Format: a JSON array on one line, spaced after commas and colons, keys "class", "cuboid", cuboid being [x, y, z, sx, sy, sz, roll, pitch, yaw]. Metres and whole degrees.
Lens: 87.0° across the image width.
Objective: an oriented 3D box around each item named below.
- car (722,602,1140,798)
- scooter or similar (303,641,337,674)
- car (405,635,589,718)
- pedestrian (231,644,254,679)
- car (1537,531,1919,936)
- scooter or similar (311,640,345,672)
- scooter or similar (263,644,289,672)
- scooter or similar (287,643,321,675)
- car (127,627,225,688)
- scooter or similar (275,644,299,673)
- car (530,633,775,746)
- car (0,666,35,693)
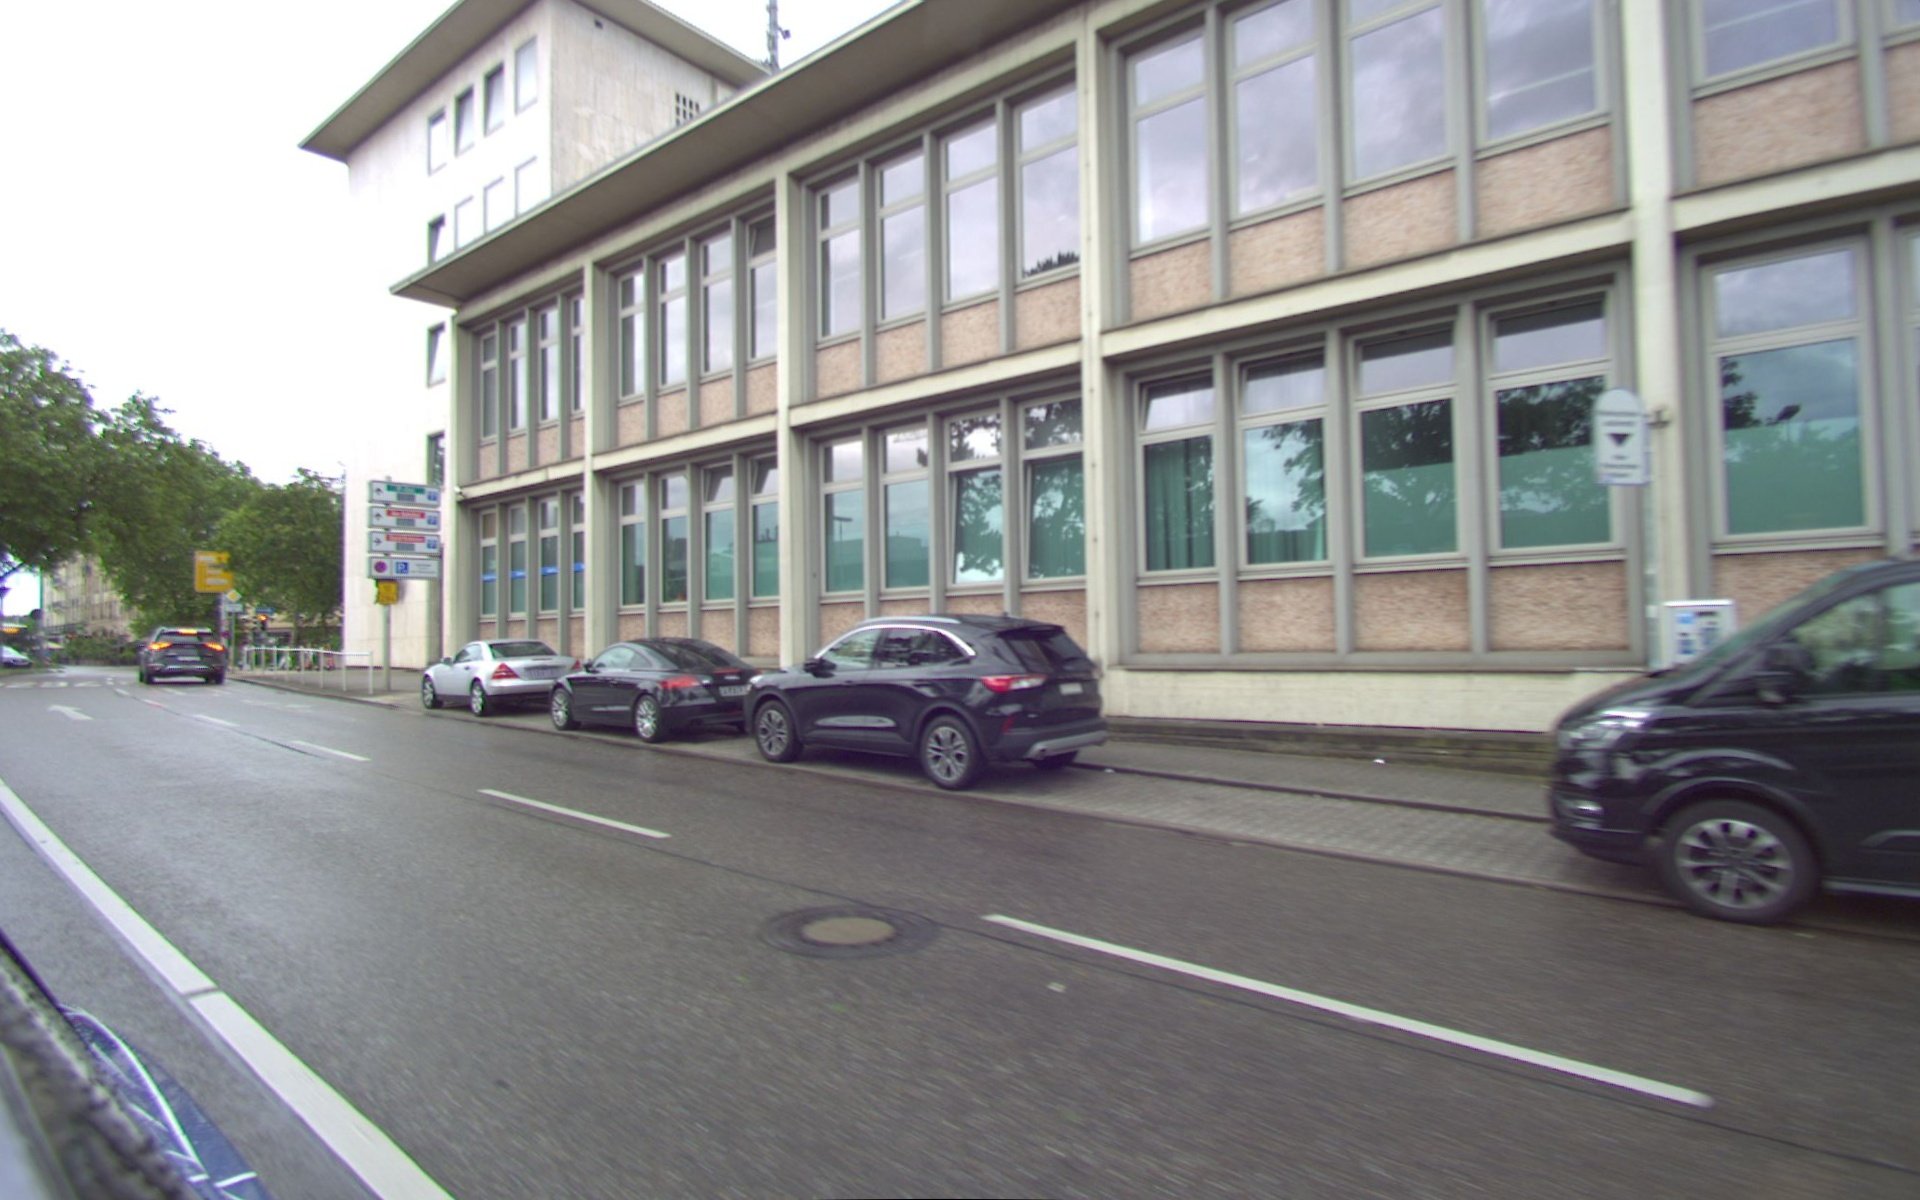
[{"class": "car", "cuboid": [-0.504, 0.939, 10.968, 4.602, 1.688, 1.777, -2, -2, 43]}, {"class": "scooter or similar", "cuboid": [-24.372, 2.187, 38.559, 0.599, 1.201, 1.532, 0, -3, -14]}, {"class": "car", "cuboid": [-8.525, 1.323, 18.458, 4.093, 1.307, 1.672, -2, -2, 44]}, {"class": "pedestrian", "cuboid": [-35.270, 3.033, 49.781, 0.795, 1.723, 0.647, -3, -4, 35]}, {"class": "car", "cuboid": [5.928, 0.630, 5.079, 4.991, 1.958, 1.929, -2, -2, 40]}, {"class": "scooter or similar", "cuboid": [-23.459, 2.070, 37.603, 0.599, 1.173, 1.532, 0, -3, -14]}, {"class": "scooter or similar", "cuboid": [-29.306, 2.484, 43.327, 1.500, 1.176, 0.483, -3, -4, 39]}, {"class": "scooter or similar", "cuboid": [-25.468, 2.283, 39.306, 0.599, 1.201, 1.532, 0, -3, -14]}, {"class": "car", "cuboid": [-23.382, 1.701, 30.132, 1.800, 1.673, 4.340, 3, -4, -44]}, {"class": "scooter or similar", "cuboid": [-28.064, 2.440, 42.197, 0.563, 1.201, 1.575, 3, -4, -44]}, {"class": "car", "cuboid": [-4.498, 1.182, 14.462, 4.110, 1.364, 1.525, -2, -2, 44]}, {"class": "car", "cuboid": [-54.638, 4.492, 57.355, 4.392, 1.420, 1.805, -2, -4, 27]}]
